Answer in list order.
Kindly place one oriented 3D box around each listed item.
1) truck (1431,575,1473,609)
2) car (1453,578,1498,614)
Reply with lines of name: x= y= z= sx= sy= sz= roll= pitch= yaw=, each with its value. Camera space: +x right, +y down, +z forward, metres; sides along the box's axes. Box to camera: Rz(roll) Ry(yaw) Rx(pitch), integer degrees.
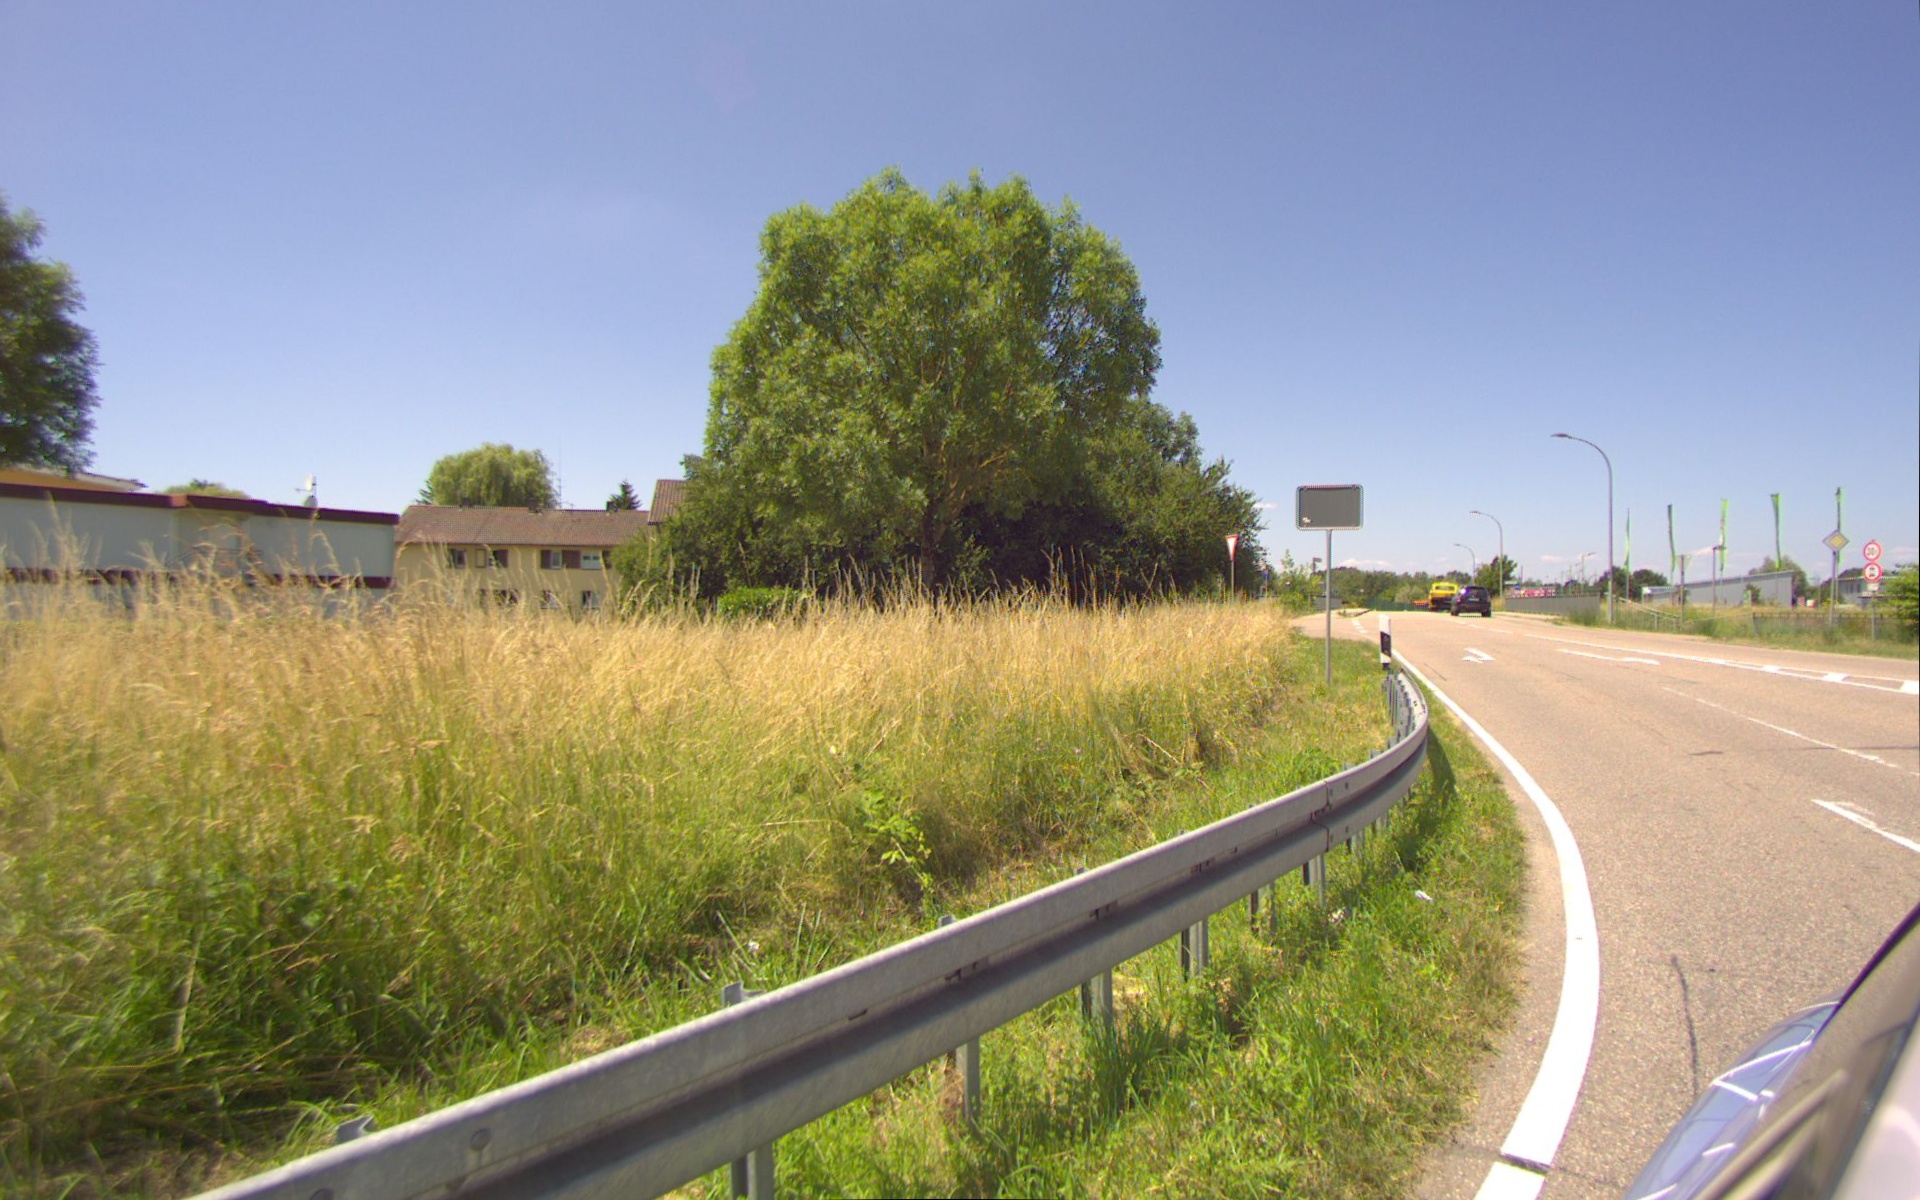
truck: x=37.573 y=-0.684 z=77.470 sx=2.293 sy=2.366 sz=8.981 roll=2 pitch=2 yaw=23
car: x=27.371 y=-0.258 z=53.839 sx=1.888 sy=1.723 sz=3.968 roll=1 pitch=3 yaw=25
